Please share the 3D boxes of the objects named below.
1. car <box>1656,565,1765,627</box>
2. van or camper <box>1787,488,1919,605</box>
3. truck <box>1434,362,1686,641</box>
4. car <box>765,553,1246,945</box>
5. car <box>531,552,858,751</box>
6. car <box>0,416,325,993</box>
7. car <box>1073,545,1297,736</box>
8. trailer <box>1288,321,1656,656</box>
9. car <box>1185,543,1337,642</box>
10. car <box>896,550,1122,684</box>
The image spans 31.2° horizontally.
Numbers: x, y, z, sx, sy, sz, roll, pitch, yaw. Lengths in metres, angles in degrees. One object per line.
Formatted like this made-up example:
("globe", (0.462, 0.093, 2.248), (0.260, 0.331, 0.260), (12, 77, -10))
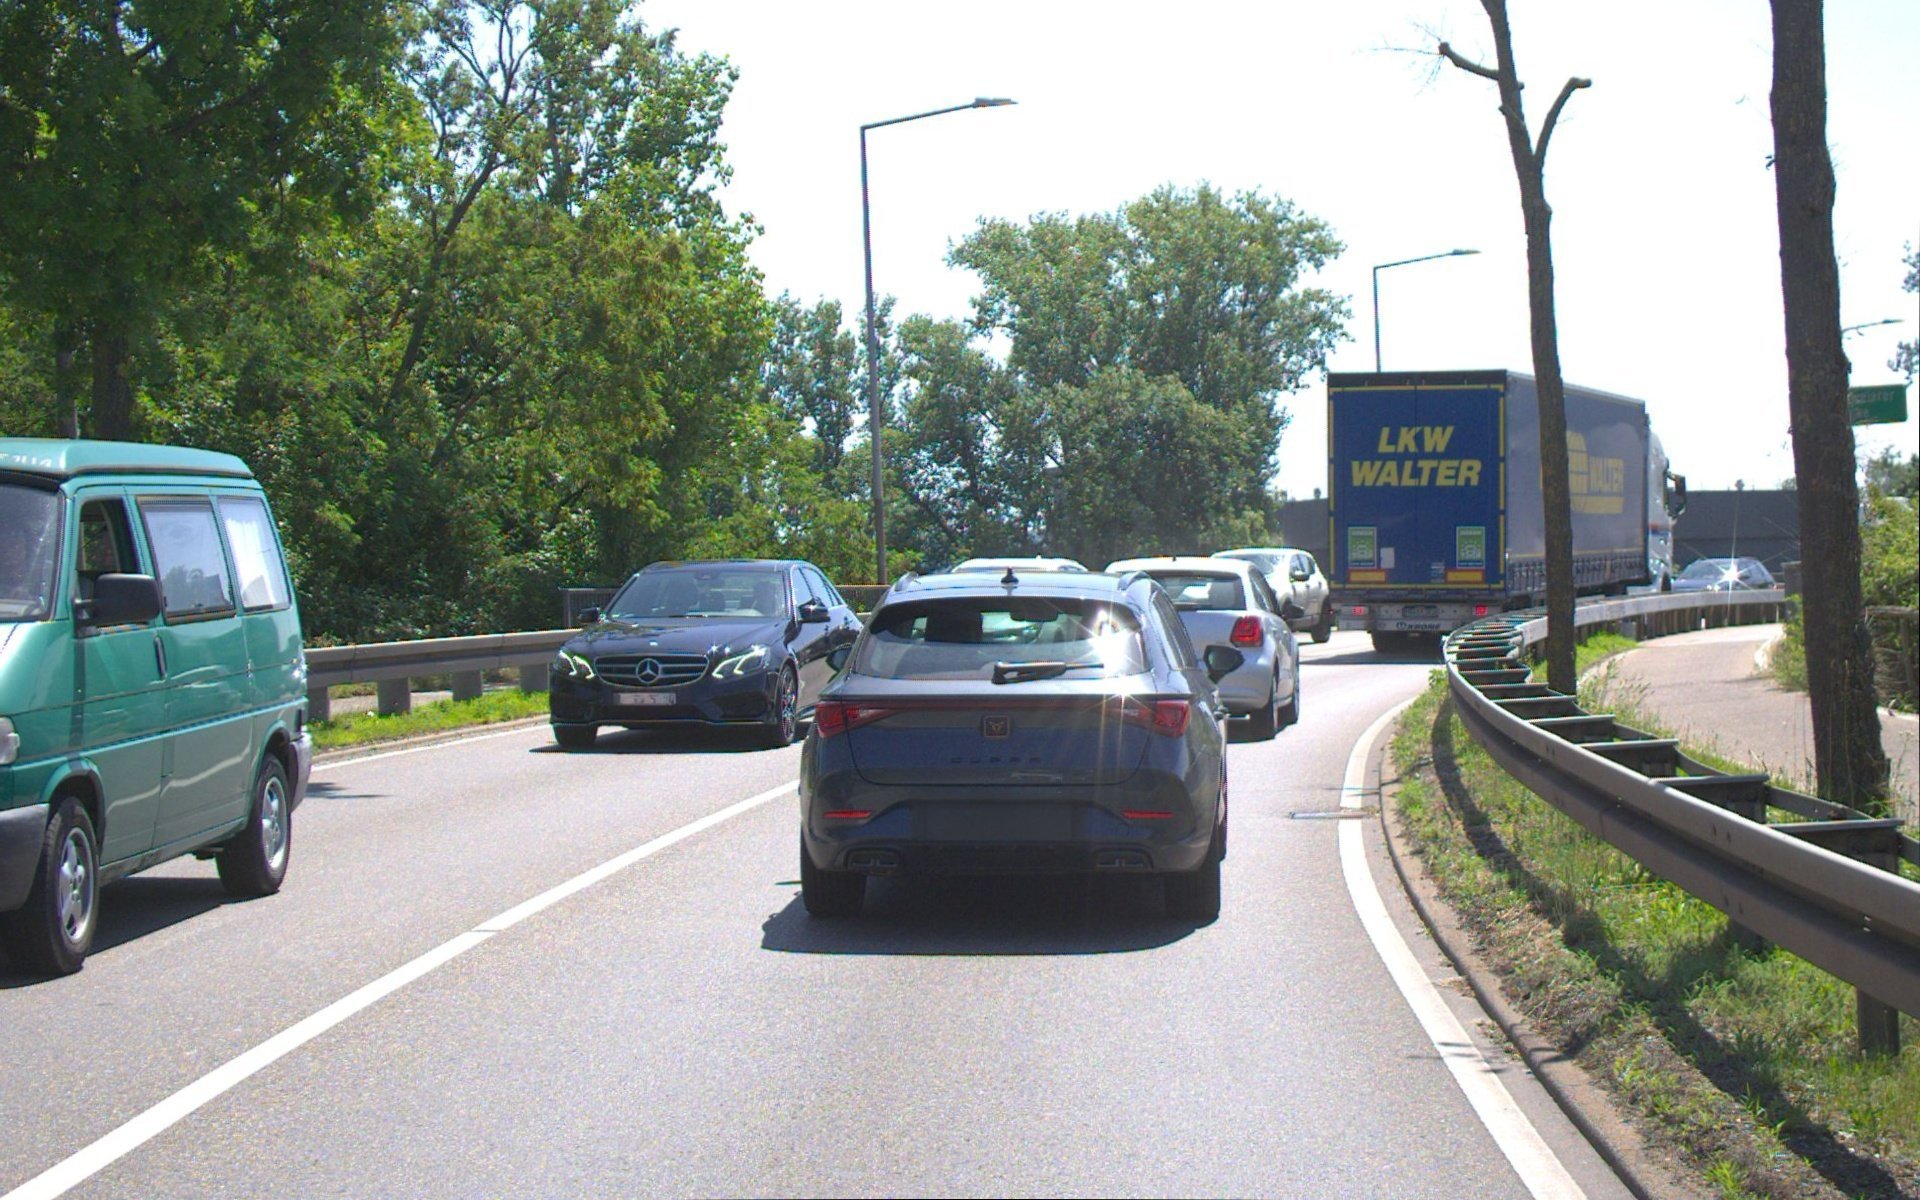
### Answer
("car", (18.159, -0.123, 83.069), (1.759, 1.437, 4.562), (0, 1, 23))
("van or camper", (21.630, -1.291, 82.766), (2.206, 2.702, 5.918), (0, 1, 25))
("truck", (10.653, -1.639, 60.419), (3.173, 4.569, 7.389), (1, 0, 19))
("car", (0.224, 0.549, 15.109), (1.845, 1.493, 3.758), (0, 1, 2))
("car", (-2.055, 0.350, 28.012), (1.846, 1.462, 4.740), (0, 1, 6))
("car", (-4.015, 0.323, 13.702), (1.830, 1.932, 4.775), (0, 1, 3))
("car", (1.915, 0.290, 28.428), (1.593, 1.456, 3.544), (1, 1, 8))
("trailer", (8.329, -1.614, 53.915), (3.137, 4.598, 12.935), (1, 1, 20))
("car", (4.954, -0.153, 56.128), (1.747, 1.541, 4.390), (0, 1, 15))
("car", (0.627, 0.149, 39.601), (1.702, 1.442, 4.457), (0, 1, 13))
